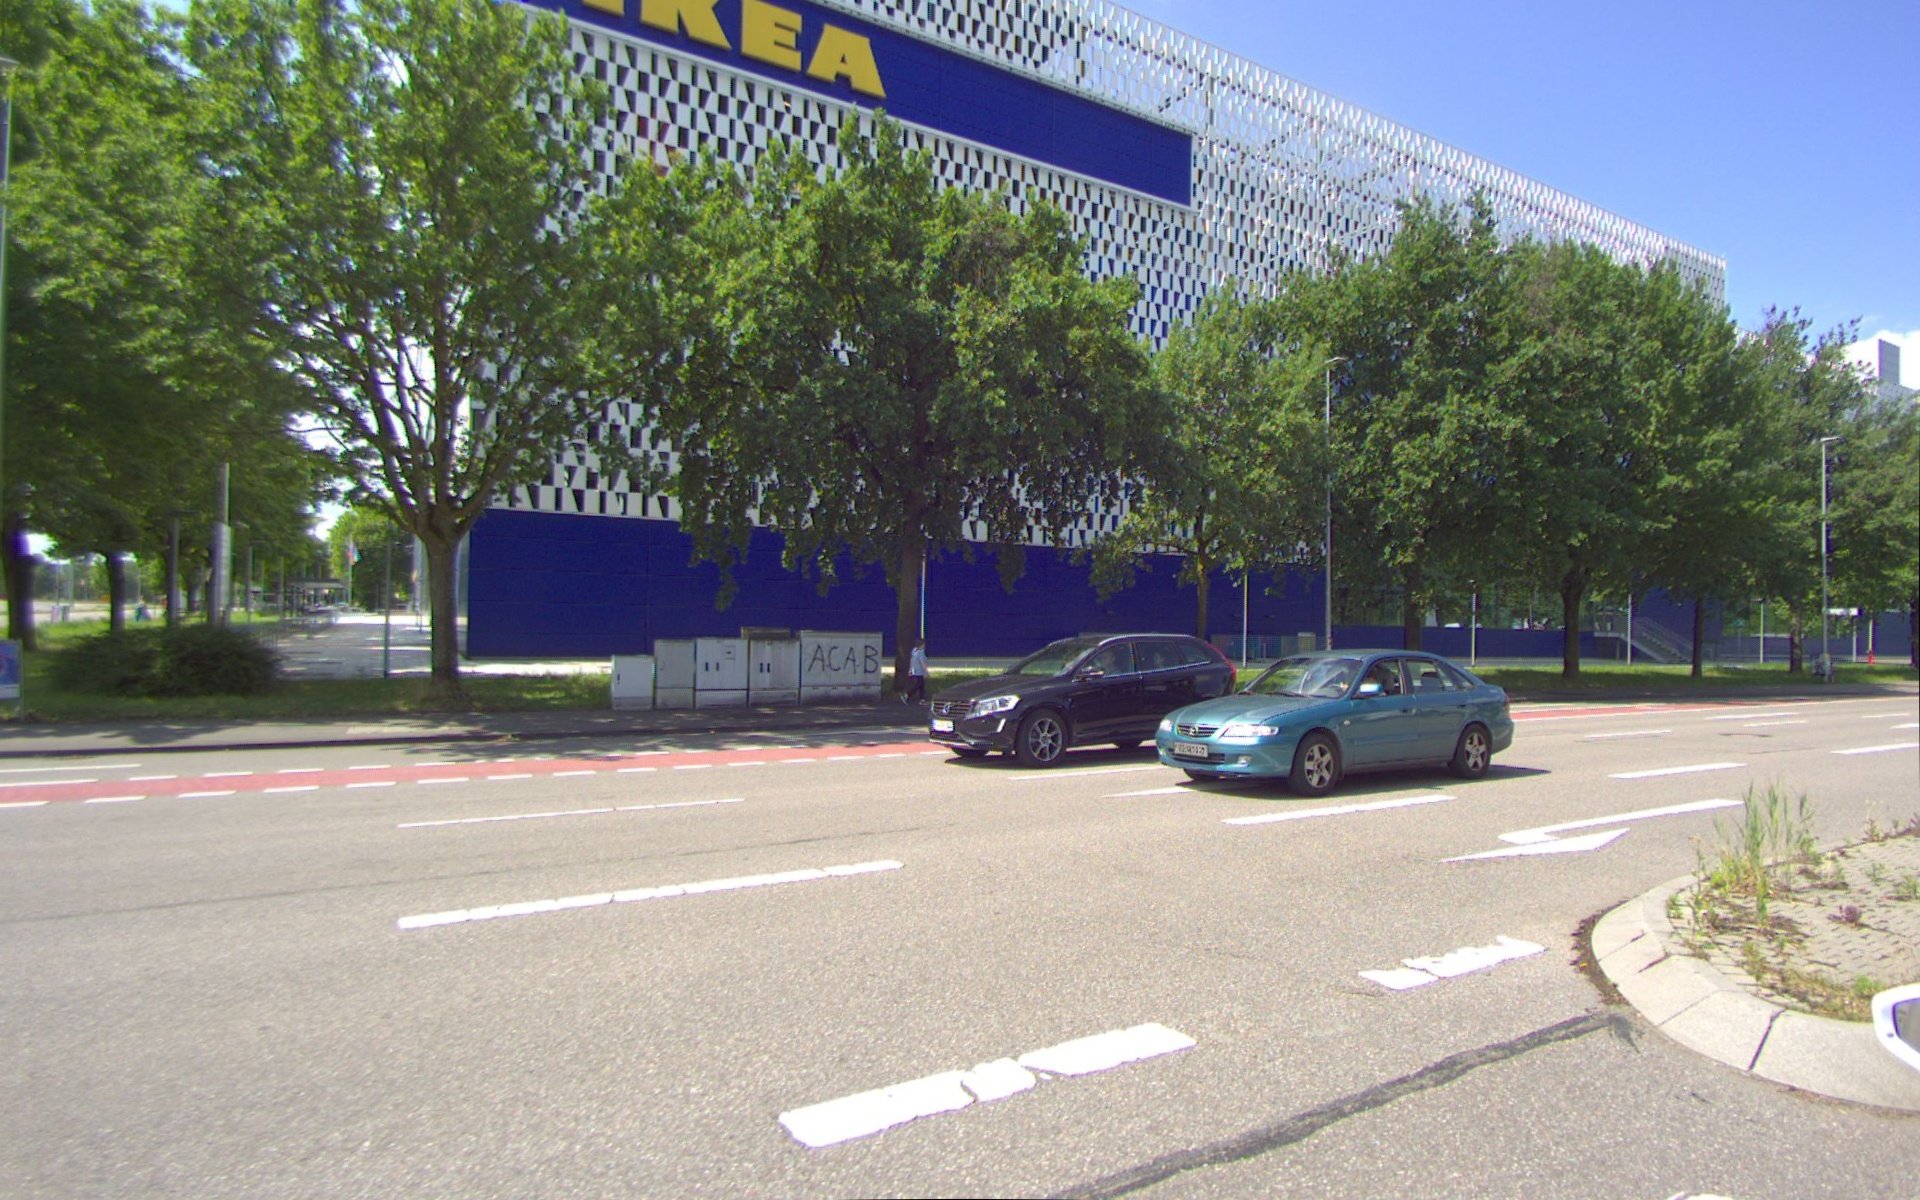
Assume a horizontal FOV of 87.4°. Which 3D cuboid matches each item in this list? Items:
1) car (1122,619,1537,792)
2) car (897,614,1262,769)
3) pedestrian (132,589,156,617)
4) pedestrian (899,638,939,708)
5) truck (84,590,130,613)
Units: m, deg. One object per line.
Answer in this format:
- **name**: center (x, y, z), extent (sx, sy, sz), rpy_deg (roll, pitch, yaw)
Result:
- **car**: center (4.198, 1.073, 11.166), extent (4.767, 1.568, 1.764), rpy_deg (2, -4, -32)
- **car**: center (1.692, 1.172, 13.616), extent (4.767, 1.778, 1.918), rpy_deg (2, -4, -31)
- **pedestrian**: center (-50.468, 0.177, 62.130), extent (0.842, 1.751, 1.158), rpy_deg (0, 1, -23)
- **pedestrian**: center (-0.941, 1.668, 23.038), extent (0.752, 1.576, 0.500), rpy_deg (2, -1, -30)
- **truck**: center (-102.293, 0.149, 120.515), extent (2.937, 2.789, 5.742), rpy_deg (0, 1, -28)
